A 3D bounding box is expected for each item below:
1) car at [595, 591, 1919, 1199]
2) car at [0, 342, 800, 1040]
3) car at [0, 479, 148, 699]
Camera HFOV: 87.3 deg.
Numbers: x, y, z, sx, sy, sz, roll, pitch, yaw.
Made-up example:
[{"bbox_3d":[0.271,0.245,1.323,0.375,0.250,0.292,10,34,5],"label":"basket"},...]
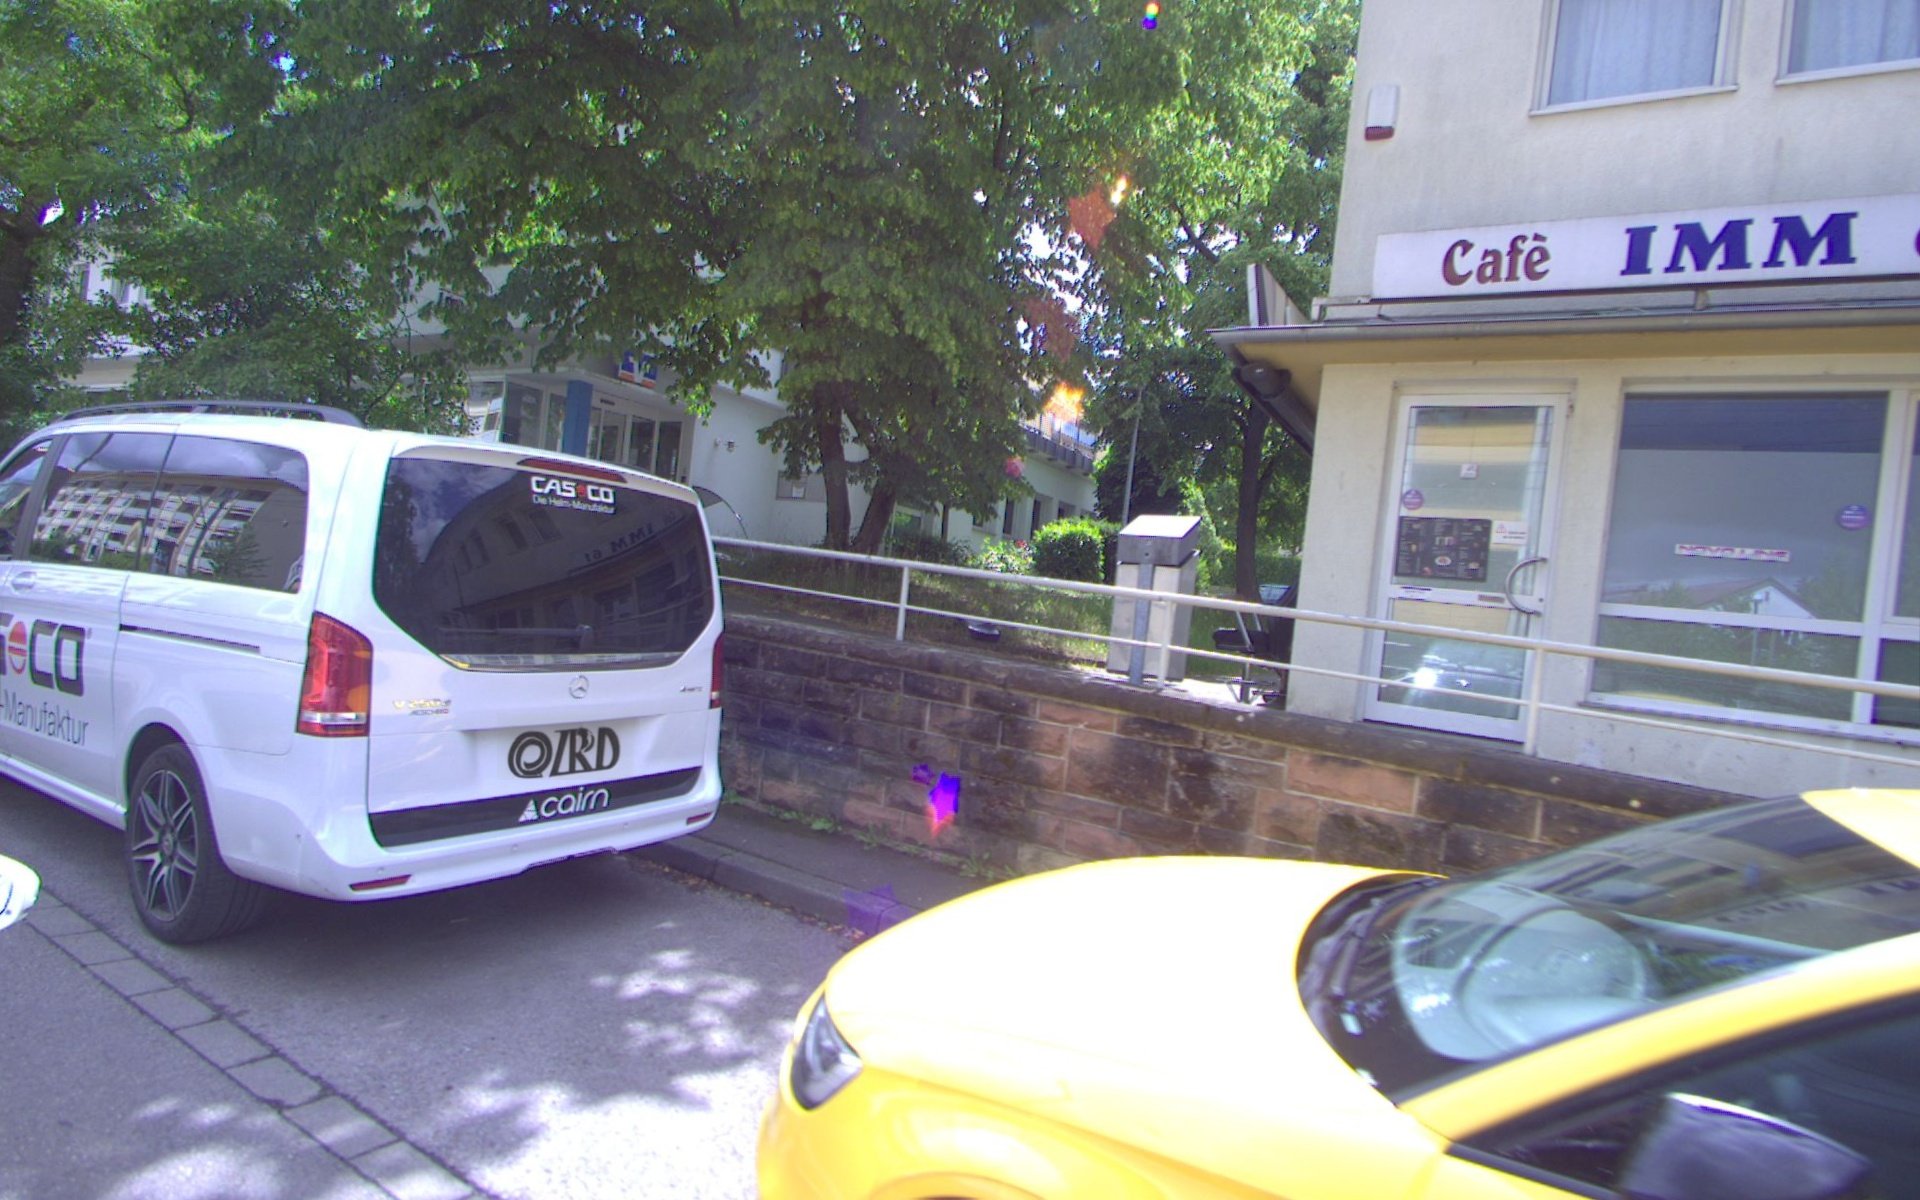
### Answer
[{"bbox_3d":[1.628,0.971,1.459,4.268,1.461,1.756,7,1,31],"label":"car"},{"bbox_3d":[-3.704,0.030,5.108,5.648,1.983,1.916,7,1,31],"label":"car"},{"bbox_3d":[-7.920,-0.212,7.875,2.799,1.554,1.514,7,2,31],"label":"car"}]
